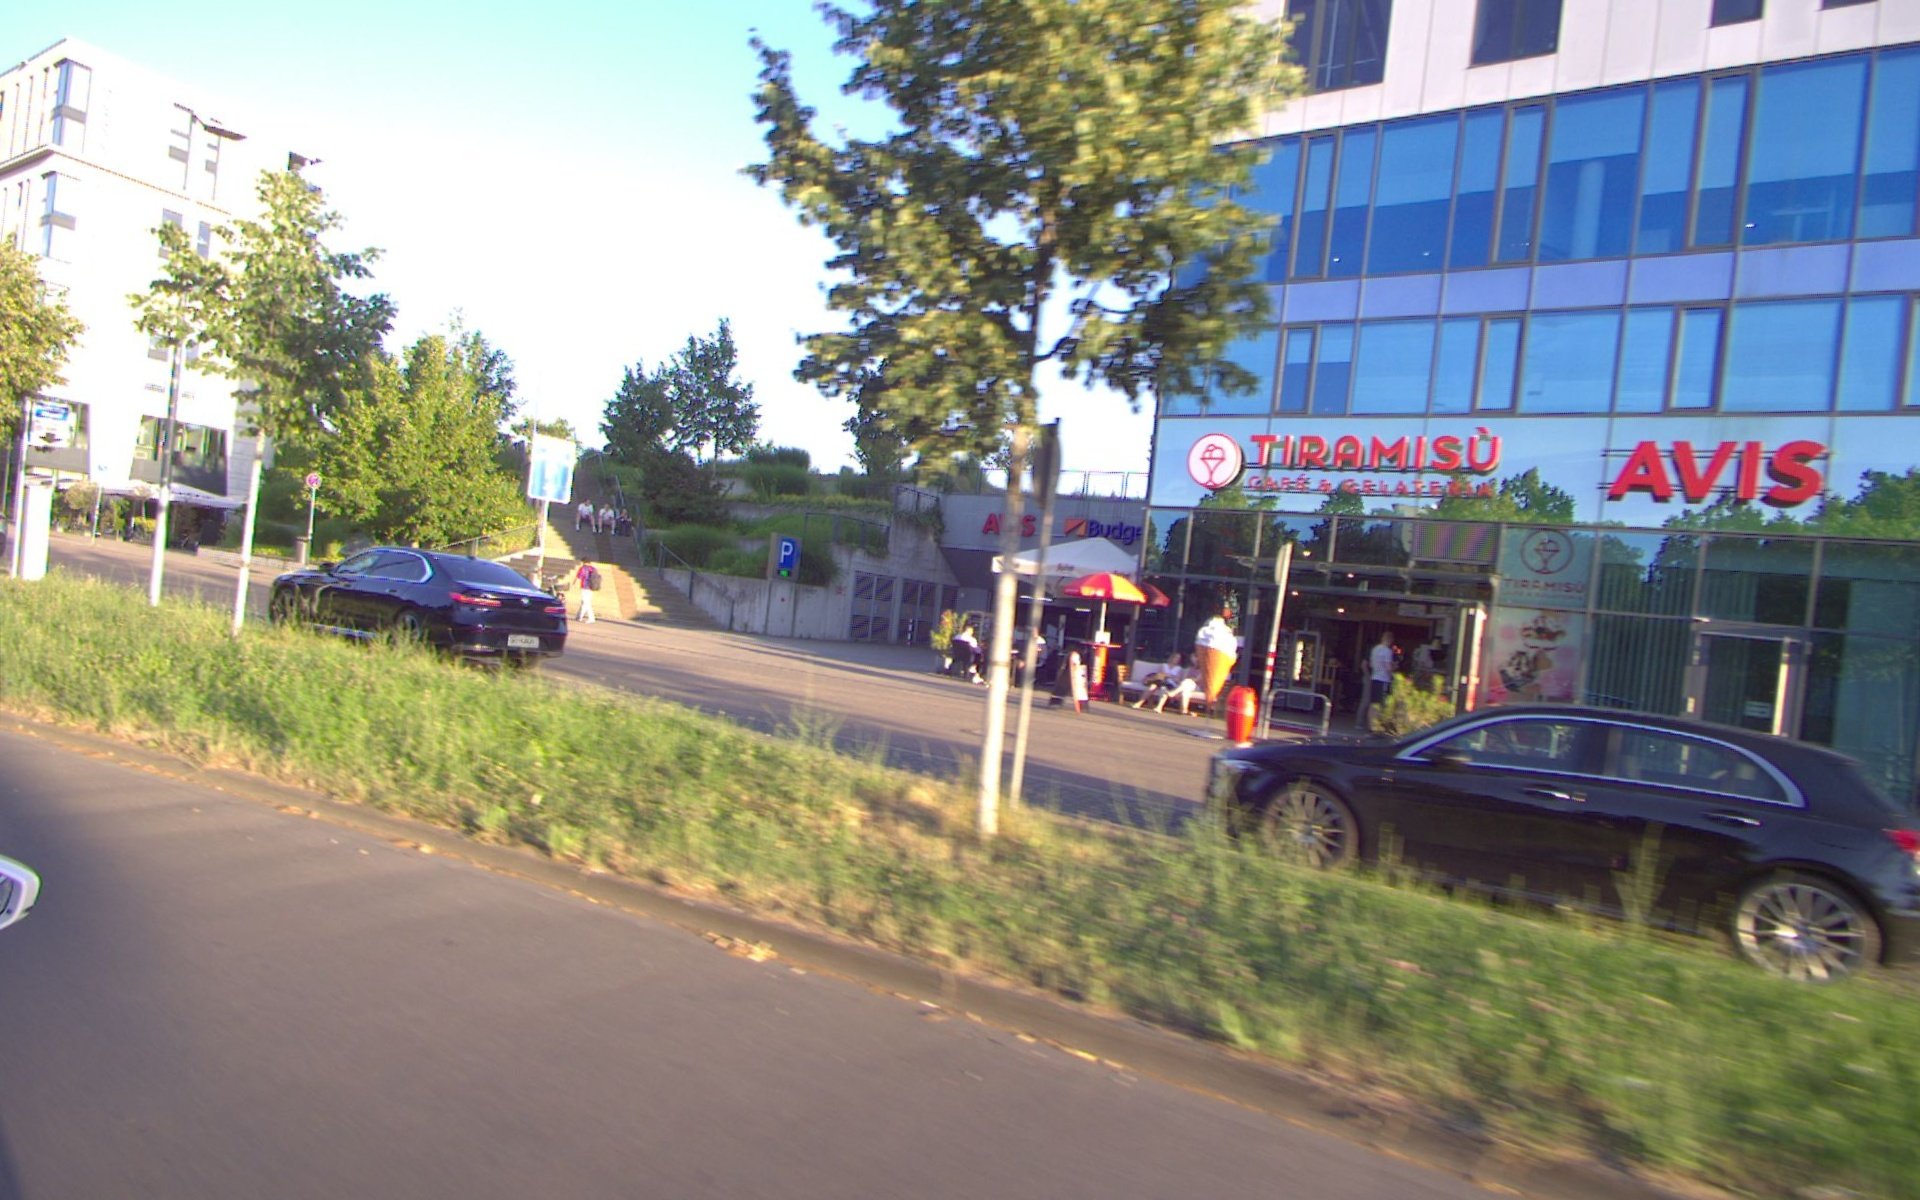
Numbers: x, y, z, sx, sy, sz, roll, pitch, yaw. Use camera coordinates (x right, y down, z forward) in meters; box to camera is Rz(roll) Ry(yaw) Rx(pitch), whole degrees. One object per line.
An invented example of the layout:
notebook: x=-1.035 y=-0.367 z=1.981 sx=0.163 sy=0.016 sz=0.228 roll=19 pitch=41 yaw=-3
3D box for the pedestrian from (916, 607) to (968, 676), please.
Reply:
pedestrian: x=-0.373 y=0.889 z=21.505 sx=0.756 sy=1.385 sz=0.745 roll=6 pitch=0 yaw=20

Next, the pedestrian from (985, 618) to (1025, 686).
pedestrian: x=0.923 y=1.071 z=20.880 sx=0.672 sy=1.308 sz=0.662 roll=5 pitch=2 yaw=-1

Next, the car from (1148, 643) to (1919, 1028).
car: x=3.797 y=1.345 z=7.062 sx=4.404 sy=1.519 sz=1.811 roll=6 pitch=0 yaw=31

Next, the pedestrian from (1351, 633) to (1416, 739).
pedestrian: x=7.483 y=1.509 z=17.764 sx=0.657 sy=1.783 sz=0.677 roll=3 pitch=3 yaw=-41

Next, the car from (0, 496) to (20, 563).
car: x=-26.658 y=-2.063 z=26.281 sx=4.598 sy=1.652 sz=1.811 roll=6 pitch=0 yaw=31

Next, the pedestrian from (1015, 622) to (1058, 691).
pedestrian: x=1.545 y=1.120 z=20.265 sx=0.617 sy=1.308 sz=0.684 roll=6 pitch=2 yaw=19

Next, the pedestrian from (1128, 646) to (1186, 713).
pedestrian: x=3.711 y=1.479 z=18.902 sx=0.673 sy=1.140 sz=0.972 roll=6 pitch=2 yaw=32

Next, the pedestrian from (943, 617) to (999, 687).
pedestrian: x=0.217 y=1.040 z=20.133 sx=0.674 sy=1.308 sz=0.779 roll=7 pitch=3 yaw=38

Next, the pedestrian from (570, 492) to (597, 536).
pedestrian: x=-13.379 y=-3.043 z=35.727 sx=0.662 sy=1.398 sz=0.821 roll=8 pitch=-1 yaw=-27

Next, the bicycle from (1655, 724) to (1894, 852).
bicycle: x=9.693 y=2.210 z=12.093 sx=2.037 sy=1.078 sz=0.683 roll=7 pitch=2 yaw=29

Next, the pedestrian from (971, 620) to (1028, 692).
pedestrian: x=0.776 y=1.094 z=19.690 sx=0.674 sy=1.308 sz=0.774 roll=7 pitch=3 yaw=38

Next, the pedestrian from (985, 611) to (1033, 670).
pedestrian: x=1.159 y=0.960 z=23.756 sx=0.758 sy=1.281 sz=0.743 roll=6 pitch=0 yaw=32

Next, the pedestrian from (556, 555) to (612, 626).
pedestrian: x=-9.640 y=-0.243 z=25.795 sx=1.060 sy=1.675 sz=0.696 roll=7 pitch=0 yaw=31

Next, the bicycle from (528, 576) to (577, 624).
bicycle: x=-10.217 y=-0.015 z=25.208 sx=0.540 sy=1.056 sz=1.892 roll=6 pitch=0 yaw=-39

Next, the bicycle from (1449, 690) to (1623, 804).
bicycle: x=7.585 y=1.907 z=13.345 sx=1.841 sy=1.148 sz=0.640 roll=7 pitch=2 yaw=28

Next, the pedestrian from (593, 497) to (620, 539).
pedestrian: x=-12.692 y=-2.927 z=36.119 sx=0.662 sy=1.398 sz=0.821 roll=7 pitch=0 yaw=-27

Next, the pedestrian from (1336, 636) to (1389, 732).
pedestrian: x=7.880 y=1.626 z=19.681 sx=0.673 sy=1.783 sz=0.660 roll=7 pitch=3 yaw=33

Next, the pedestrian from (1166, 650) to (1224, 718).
pedestrian: x=4.327 y=1.521 z=18.483 sx=0.673 sy=1.140 sz=0.972 roll=6 pitch=2 yaw=32

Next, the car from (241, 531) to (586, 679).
car: x=-8.083 y=0.032 z=14.706 sx=5.321 sy=1.519 sz=1.922 roll=6 pitch=0 yaw=31

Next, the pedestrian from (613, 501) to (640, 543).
pedestrian: x=-12.087 y=-2.824 z=36.481 sx=0.662 sy=1.398 sz=0.821 roll=8 pitch=-1 yaw=-27
